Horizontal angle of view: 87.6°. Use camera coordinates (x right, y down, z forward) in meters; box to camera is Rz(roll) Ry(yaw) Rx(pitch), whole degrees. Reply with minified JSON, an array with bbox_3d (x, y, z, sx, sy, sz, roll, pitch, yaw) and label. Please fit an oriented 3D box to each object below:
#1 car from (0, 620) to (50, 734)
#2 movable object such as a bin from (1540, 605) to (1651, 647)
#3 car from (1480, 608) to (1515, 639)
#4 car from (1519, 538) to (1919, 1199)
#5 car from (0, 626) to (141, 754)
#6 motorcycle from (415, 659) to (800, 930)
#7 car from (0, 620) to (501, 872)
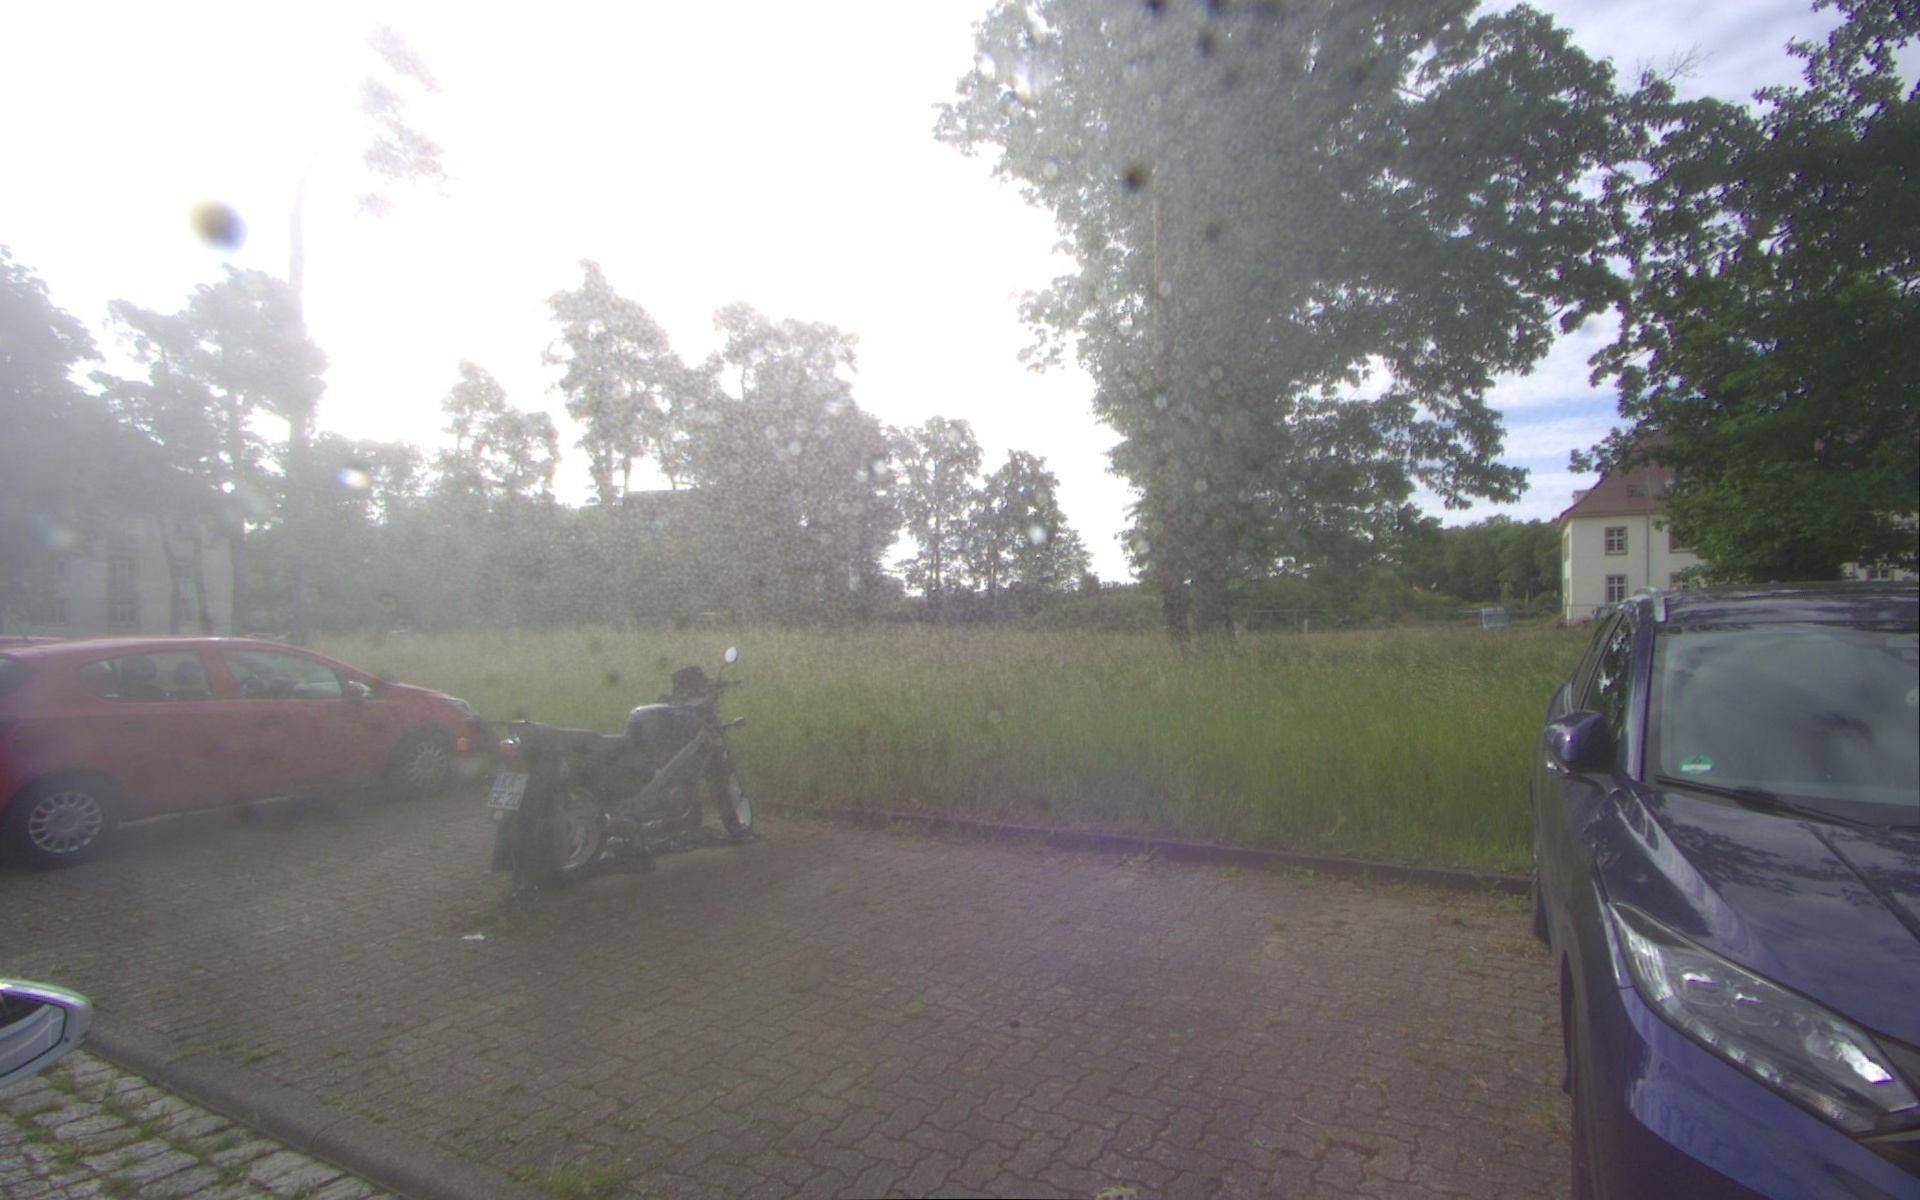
[{"bbox_3d":[-14.782,1.108,13.004,1.723,1.573,4.026,-1,0,27],"label":"car"},{"bbox_3d":[42.012,1.755,66.295,5.913,2.689,2.157,-2,-2,43],"label":"movable object such as a bin"},{"bbox_3d":[43.679,1.935,81.462,1.885,2.378,4.588,-1,-2,21],"label":"car"},{"bbox_3d":[2.703,0.724,2.962,1.766,1.591,4.158,-2,-2,29],"label":"car"},{"bbox_3d":[-12.416,1.117,11.886,1.725,1.479,3.787,-1,0,29],"label":"car"},{"bbox_3d":[-1.987,1.023,6.120,0.783,1.201,2.326,-1,0,26],"label":"motorcycle"},{"bbox_3d":[-5.975,0.961,8.090,1.752,1.479,3.821,-1,0,29],"label":"car"}]
